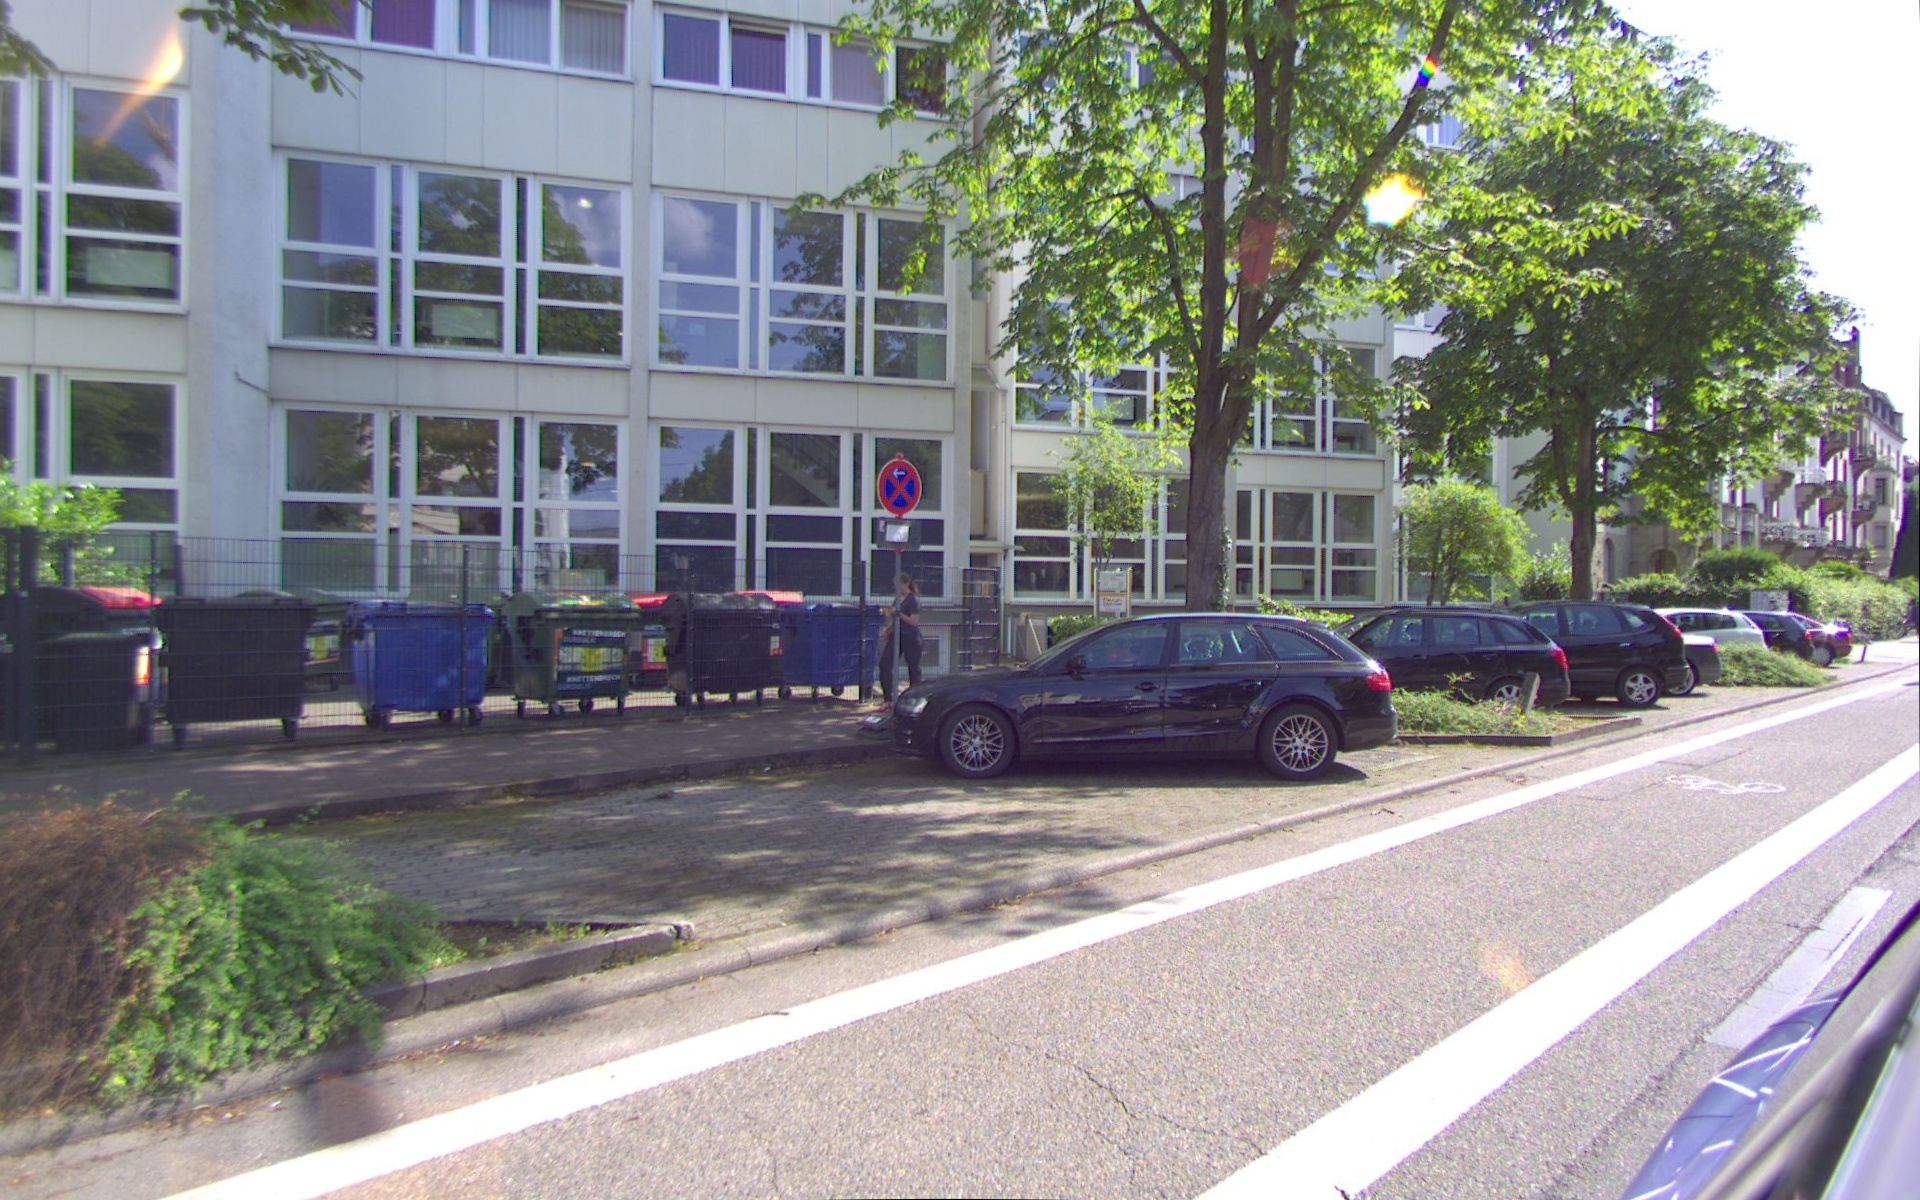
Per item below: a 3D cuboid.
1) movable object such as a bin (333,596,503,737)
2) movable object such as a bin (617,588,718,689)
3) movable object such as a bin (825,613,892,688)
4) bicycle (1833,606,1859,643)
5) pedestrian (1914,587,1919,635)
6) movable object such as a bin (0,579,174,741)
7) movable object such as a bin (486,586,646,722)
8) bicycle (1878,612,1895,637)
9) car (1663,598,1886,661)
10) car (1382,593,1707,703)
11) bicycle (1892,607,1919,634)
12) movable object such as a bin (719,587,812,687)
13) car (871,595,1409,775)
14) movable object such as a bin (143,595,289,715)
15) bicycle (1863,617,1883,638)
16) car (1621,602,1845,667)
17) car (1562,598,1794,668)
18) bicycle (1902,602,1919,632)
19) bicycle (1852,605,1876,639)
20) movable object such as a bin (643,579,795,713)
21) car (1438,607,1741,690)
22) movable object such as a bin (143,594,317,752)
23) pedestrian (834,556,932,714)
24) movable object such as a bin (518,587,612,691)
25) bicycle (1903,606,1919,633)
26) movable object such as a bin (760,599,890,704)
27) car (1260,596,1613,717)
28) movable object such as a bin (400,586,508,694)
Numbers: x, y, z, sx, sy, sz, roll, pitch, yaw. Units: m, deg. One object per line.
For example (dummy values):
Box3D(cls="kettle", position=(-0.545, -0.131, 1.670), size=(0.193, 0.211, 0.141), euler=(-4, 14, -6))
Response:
Box3D(cls="movable object such as a bin", position=(-5.757, 0.654, 10.737), size=(1.335, 1.353, 1.276), euler=(0, -1, -42))
Box3D(cls="movable object such as a bin", position=(-4.497, 0.561, 15.576), size=(1.422, 1.474, 1.212), euler=(-1, 0, -17))
Box3D(cls="movable object such as a bin", position=(-1.668, 0.808, 16.549), size=(0.910, 1.103, 1.037), euler=(1, 2, -15))
Box3D(cls="bicycle", position=(28.393, 0.766, 32.430), size=(1.975, 1.122, 0.280), euler=(0, 4, -41))
Box3D(cls="pedestrian", position=(38.493, 0.445, 40.201), size=(0.787, 1.884, 0.571), euler=(4, 2, 43))
Box3D(cls="movable object such as a bin", position=(-8.682, 0.569, 10.042), size=(0.918, 1.500, 1.270), euler=(1, -1, -13))
Box3D(cls="movable object such as a bin", position=(-4.591, 0.609, 11.814), size=(1.274, 1.456, 1.331), euler=(-3, -3, 42))
Box3D(cls="bicycle", position=(34.150, 0.899, 37.315), size=(1.639, 0.918, 0.274), euler=(0, 0, -41))
Box3D(cls="car", position=(21.034, 0.729, 26.289), size=(4.090, 1.441, 1.863), euler=(1, 1, 8))
Box3D(cls="car", position=(8.970, 0.720, 15.884), size=(3.933, 1.595, 1.900), euler=(-1, -1, 8))
Box3D(cls="bicycle", position=(37.661, 0.787, 40.250), size=(1.839, 1.001, 0.613), euler=(0, 3, -41))
Box3D(cls="movable object such as a bin", position=(-3.113, 0.554, 16.057), size=(1.237, 1.465, 1.383), euler=(1, 2, -19))
Box3D(cls="car", position=(1.537, 0.736, 9.545), size=(4.455, 1.460, 2.029), euler=(-1, -1, 5))
Box3D(cls="movable object such as a bin", position=(-9.243, 0.651, 12.655), size=(1.237, 1.355, 1.216), euler=(1, 2, -25))
Box3D(cls="bicycle", position=(32.417, 0.958, 35.930), size=(1.532, 0.685, 0.280), euler=(0, 4, -41))
Box3D(cls="car", position=(18.530, 0.805, 24.424), size=(3.932, 1.467, 1.696), euler=(0, 0, 8))
Box3D(cls="car", position=(15.833, 0.695, 22.463), size=(3.929, 1.479, 1.534), euler=(0, 0, 5))
Box3D(cls="bicycle", position=(41.852, 0.724, 44.227), size=(2.472, 1.246, 0.741), euler=(0, 1, -41))
Box3D(cls="bicycle", position=(31.002, 0.746, 34.699), size=(1.975, 1.122, 0.280), euler=(0, 4, -41))
Box3D(cls="movable object such as a bin", position=(-3.024, 0.533, 12.702), size=(1.443, 1.558, 1.277), euler=(0, 0, -40))
Box3D(cls="car", position=(10.996, 0.832, 17.960), size=(4.102, 1.366, 1.902), euler=(-1, -1, 5))
Box3D(cls="movable object such as a bin", position=(-6.884, 0.634, 9.538), size=(1.215, 1.353, 1.276), euler=(0, -1, -42))
Box3D(cls="pedestrian", position=(-0.972, 0.420, 12.790), size=(0.983, 1.897, 0.763), euler=(0, 0, -35))
Box3D(cls="movable object such as a bin", position=(-5.940, 0.560, 15.319), size=(1.237, 1.465, 1.383), euler=(1, 2, -19))
Box3D(cls="bicycle", position=(39.491, 0.800, 41.735), size=(2.321, 1.008, 0.612), euler=(0, 4, -41))
Box3D(cls="movable object such as a bin", position=(-1.855, 0.659, 13.878), size=(1.302, 1.335, 1.277), euler=(0, 0, -40))
Box3D(cls="car", position=(6.342, 0.736, 13.863), size=(4.004, 1.462, 1.723), euler=(1, -2, 6))
Box3D(cls="movable object such as a bin", position=(-7.438, 0.558, 14.973), size=(1.237, 1.465, 1.383), euler=(1, 2, -19))
